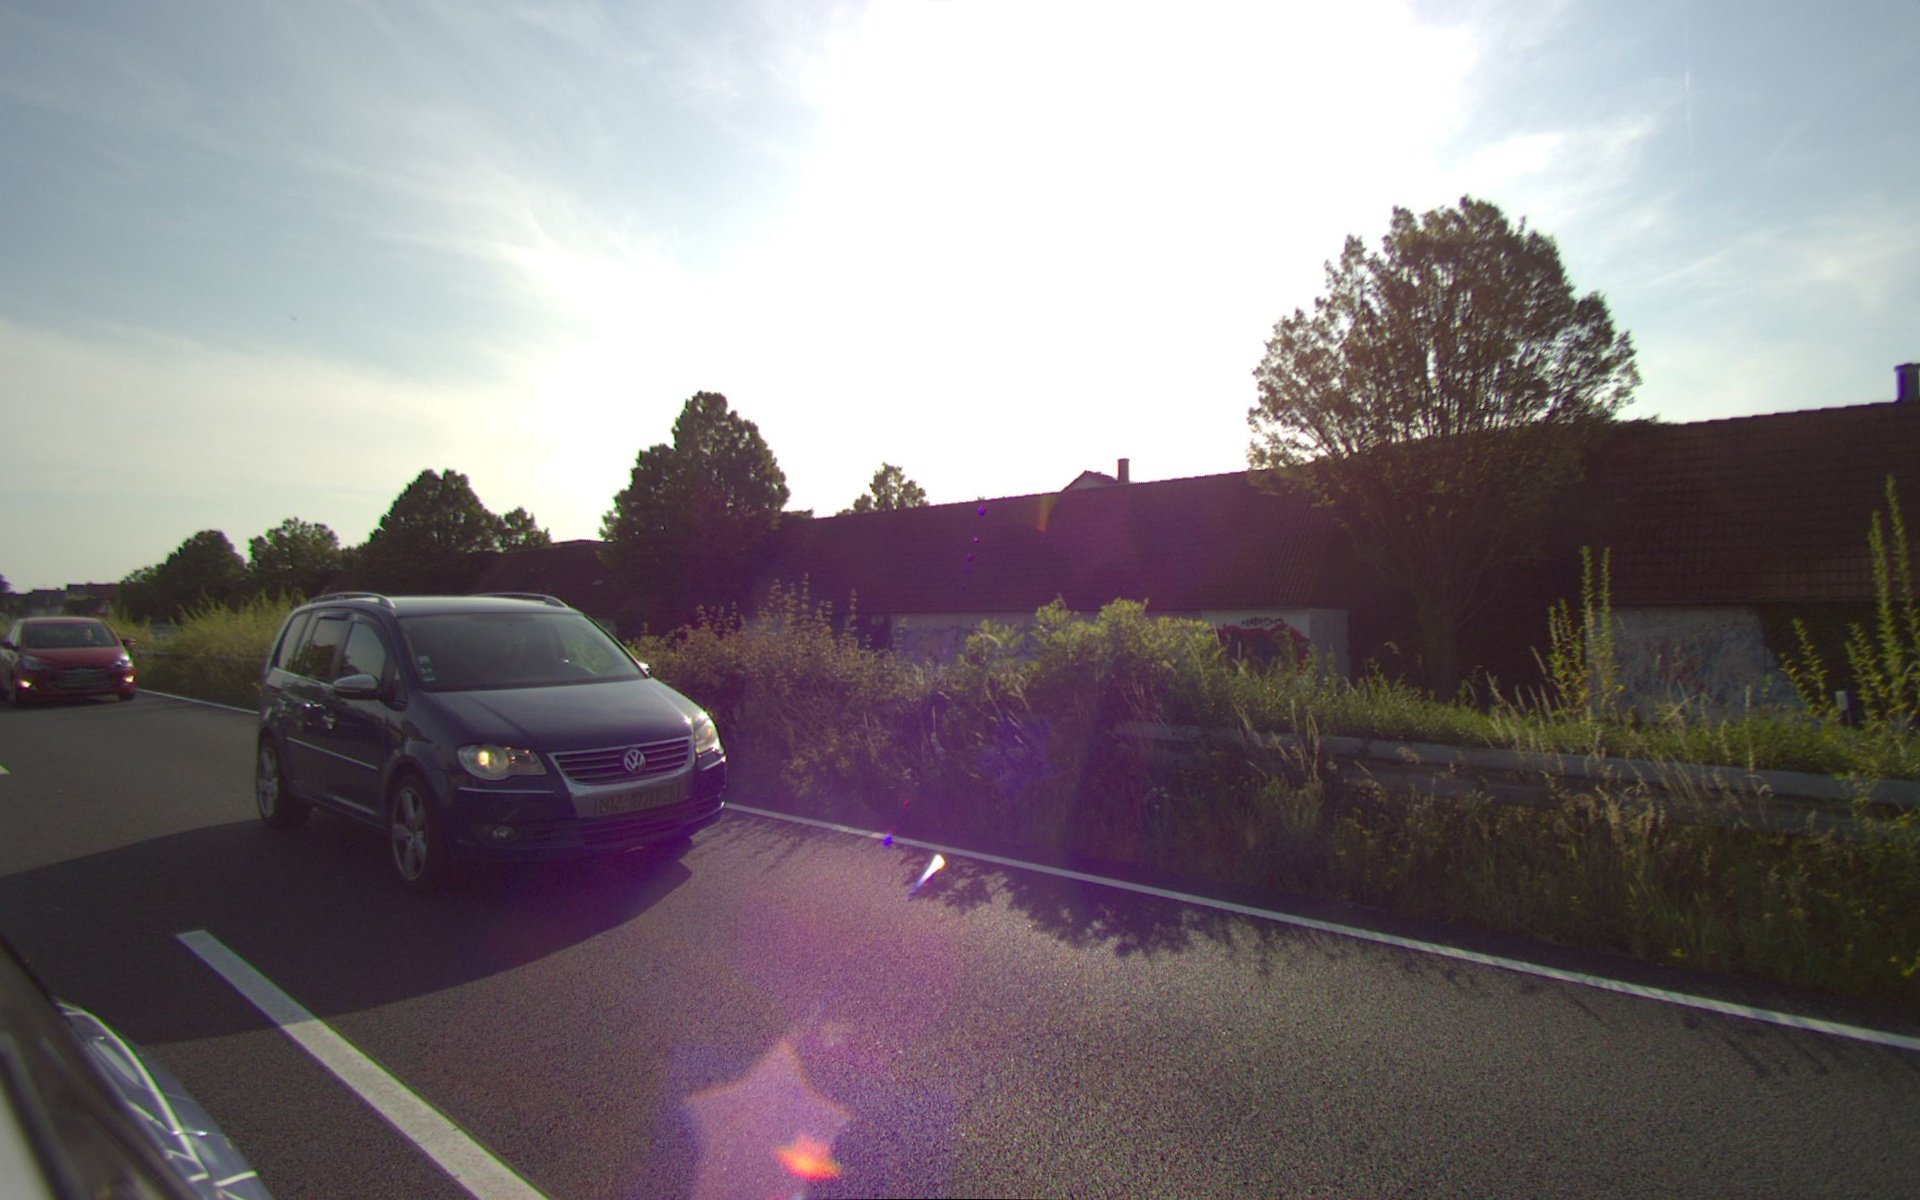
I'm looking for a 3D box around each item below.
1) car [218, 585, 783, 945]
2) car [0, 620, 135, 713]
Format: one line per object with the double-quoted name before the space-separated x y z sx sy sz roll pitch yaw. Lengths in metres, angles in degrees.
"car" -3.356 0.780 6.839 4.681 1.634 1.754 -1 -1 42
"car" -17.369 1.189 19.467 3.999 1.557 1.725 -1 0 42
